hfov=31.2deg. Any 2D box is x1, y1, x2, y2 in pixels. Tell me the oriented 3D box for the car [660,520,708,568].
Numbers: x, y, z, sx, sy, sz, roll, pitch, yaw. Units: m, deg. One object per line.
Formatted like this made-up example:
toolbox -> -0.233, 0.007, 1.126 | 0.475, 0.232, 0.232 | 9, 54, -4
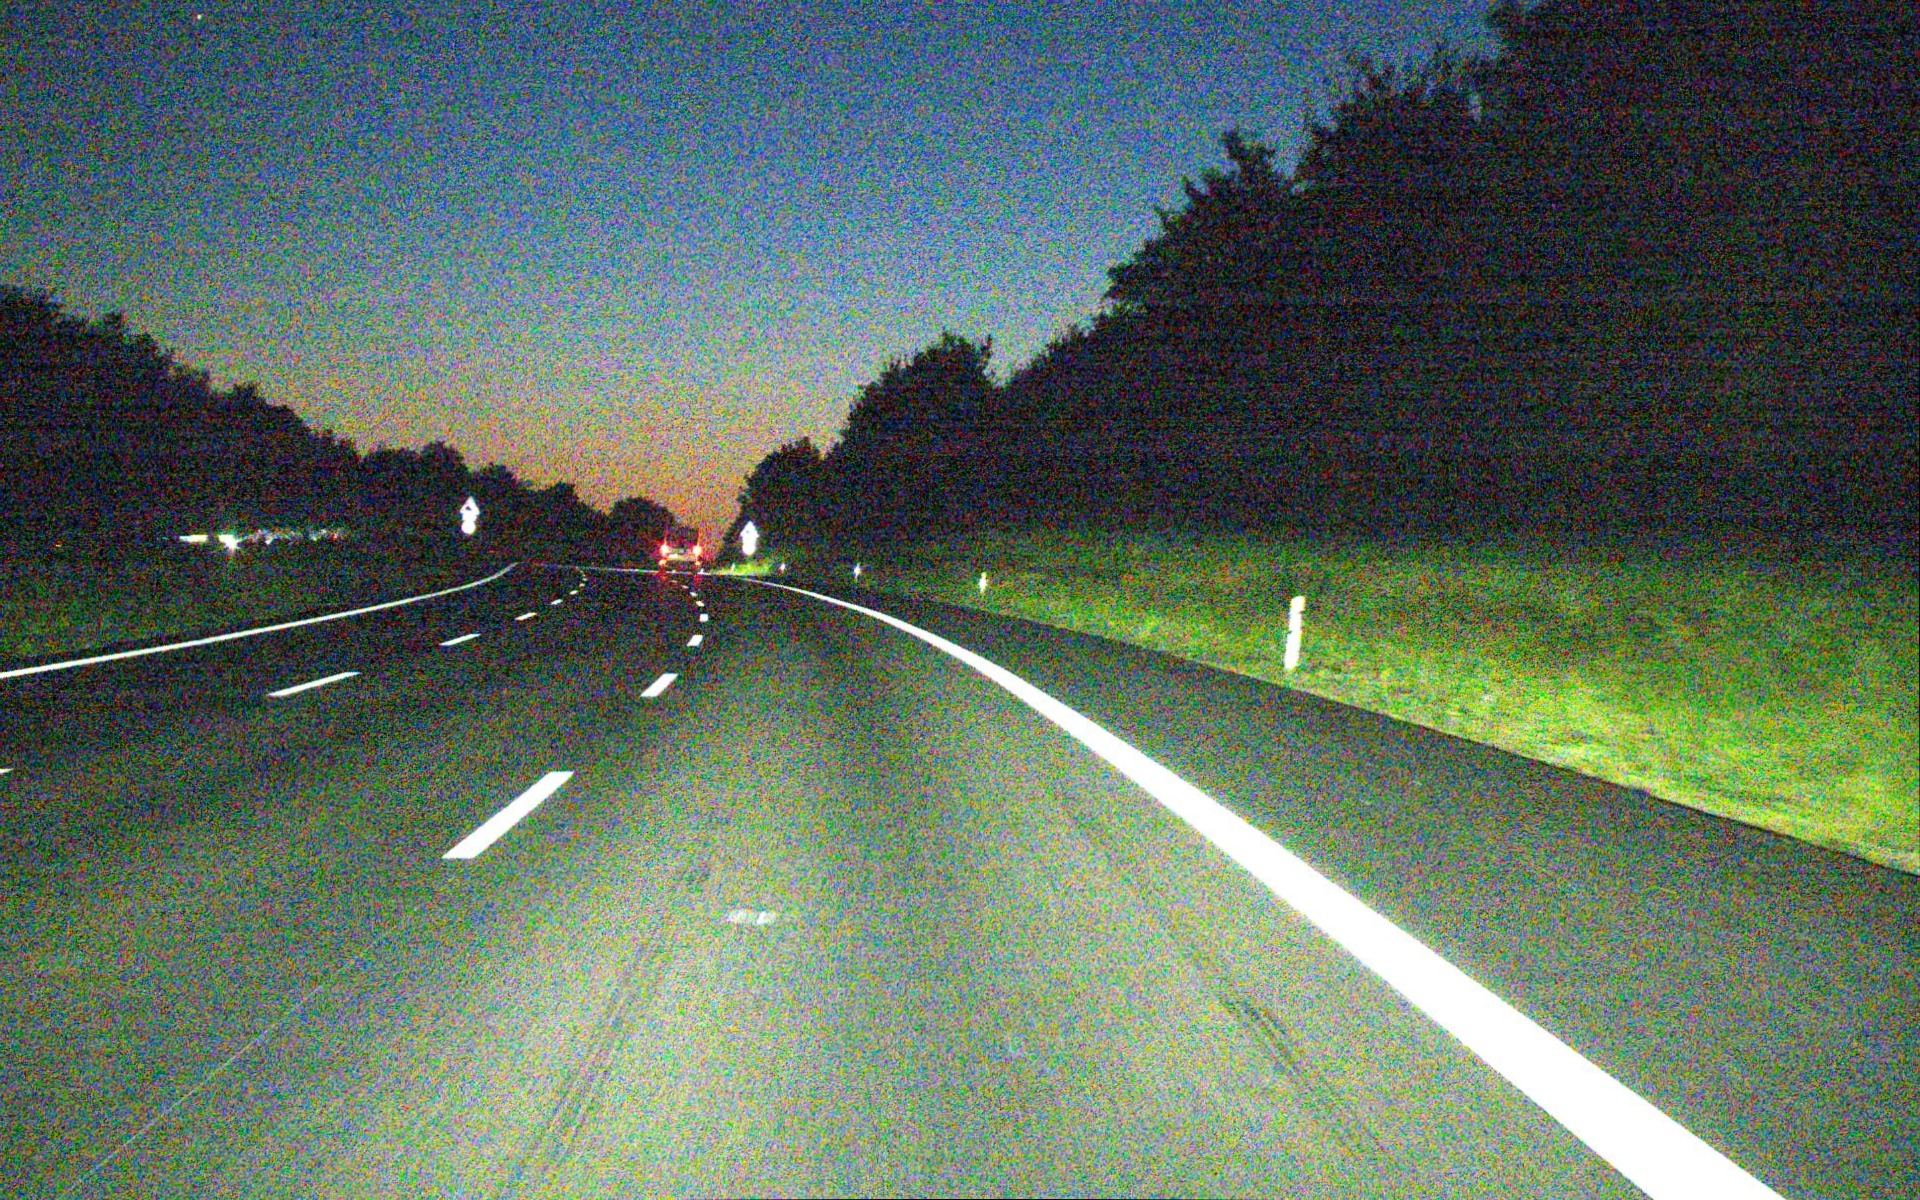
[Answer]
car -> -15.493, -3.120, 192.994 | 2.527, 2.544, 6.052 | 3, 0, -5
